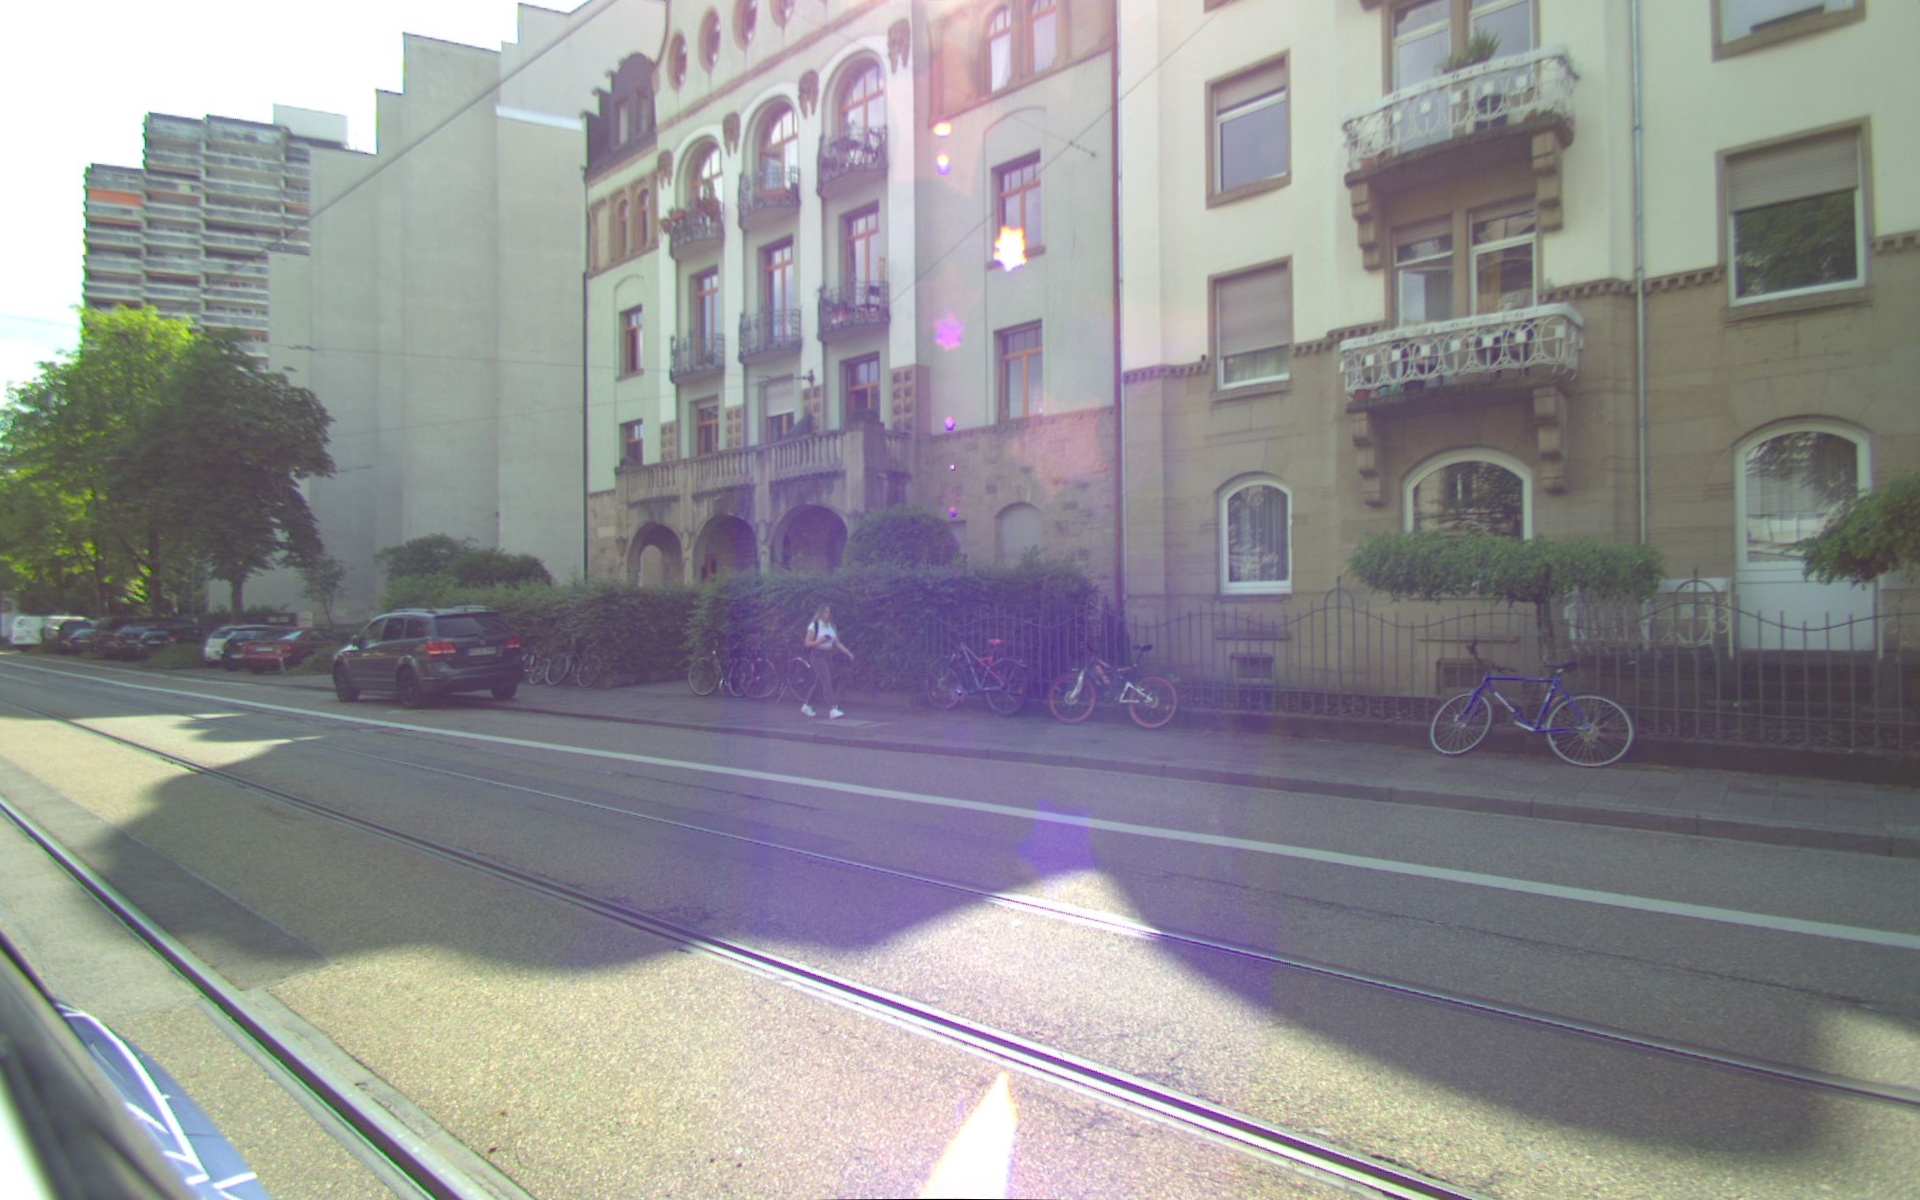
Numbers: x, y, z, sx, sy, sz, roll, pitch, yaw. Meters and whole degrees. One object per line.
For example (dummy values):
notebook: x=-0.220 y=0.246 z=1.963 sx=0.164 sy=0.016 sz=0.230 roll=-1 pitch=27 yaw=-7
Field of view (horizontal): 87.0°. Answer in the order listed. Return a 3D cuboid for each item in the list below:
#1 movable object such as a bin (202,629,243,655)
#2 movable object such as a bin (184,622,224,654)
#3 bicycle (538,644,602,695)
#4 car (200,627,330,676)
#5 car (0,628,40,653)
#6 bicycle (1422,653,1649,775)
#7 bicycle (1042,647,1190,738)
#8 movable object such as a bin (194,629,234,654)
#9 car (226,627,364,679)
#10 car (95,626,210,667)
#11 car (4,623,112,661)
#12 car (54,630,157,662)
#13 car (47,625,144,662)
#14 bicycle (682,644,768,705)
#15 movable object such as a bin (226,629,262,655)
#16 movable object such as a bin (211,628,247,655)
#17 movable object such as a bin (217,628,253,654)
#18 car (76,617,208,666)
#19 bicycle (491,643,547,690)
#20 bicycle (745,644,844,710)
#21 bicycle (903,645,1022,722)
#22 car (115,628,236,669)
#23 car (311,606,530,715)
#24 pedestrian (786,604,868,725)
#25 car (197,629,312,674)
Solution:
movable object such as a bin: x=-40.877 y=2.337 z=56.110 sx=1.536 sy=1.374 sz=1.374 roll=-1 pitch=-4 yaw=36
movable object such as a bin: x=-43.530 y=2.184 z=58.250 sx=1.536 sy=1.795 sz=1.374 roll=-1 pitch=-4 yaw=36
bicycle: x=-7.892 y=1.378 z=20.441 sx=1.920 sy=0.966 sz=0.379 roll=-2 pitch=0 yaw=42
car: x=-23.092 y=1.716 z=33.808 sx=1.674 sy=1.495 sz=3.806 roll=1 pitch=-3 yaw=1
car: x=-61.611 y=2.612 z=65.022 sx=1.715 sy=1.535 sz=3.890 roll=-1 pitch=-1 yaw=-6
bicycle: x=5.138 y=0.981 z=9.111 sx=1.705 sy=0.966 sz=0.422 roll=-2 pitch=0 yaw=42
bicycle: x=1.810 y=1.061 z=11.985 sx=1.800 sy=0.983 sz=0.379 roll=-2 pitch=0 yaw=42
movable object such as a bin: x=-42.155 y=2.337 z=57.165 sx=1.536 sy=1.374 sz=1.374 roll=-1 pitch=-4 yaw=36
car: x=-20.675 y=1.659 z=31.685 sx=1.819 sy=1.495 sz=3.972 roll=1 pitch=-3 yaw=-3
car: x=-33.265 y=1.933 z=41.846 sx=1.715 sy=1.605 sz=4.003 roll=1 pitch=-3 yaw=-4
car: x=-50.291 y=2.291 z=56.584 sx=1.940 sy=2.012 sz=4.687 roll=0 pitch=-2 yaw=-2
car: x=-40.481 y=2.173 z=48.072 sx=1.733 sy=1.428 sz=4.005 roll=1 pitch=-3 yaw=-6
car: x=-43.009 y=2.185 z=50.470 sx=1.734 sy=1.706 sz=3.718 roll=1 pitch=-3 yaw=-3
bicycle: x=-4.001 y=1.238 z=17.120 sx=1.920 sy=0.966 sz=0.379 roll=-2 pitch=0 yaw=42
movable object such as a bin: x=-37.269 y=2.195 z=52.676 sx=1.440 sy=1.293 sz=1.156 roll=-1 pitch=-4 yaw=39
movable object such as a bin: x=-39.724 y=2.272 z=54.995 sx=1.439 sy=1.391 sz=1.181 roll=-1 pitch=-4 yaw=37
movable object such as a bin: x=-38.396 y=2.181 z=53.621 sx=1.440 sy=1.337 sz=1.152 roll=-1 pitch=-4 yaw=39
car: x=-35.587 y=1.831 z=44.236 sx=1.887 sy=1.969 sz=5.174 roll=1 pitch=-3 yaw=-6
bicycle: x=-9.568 y=1.419 z=21.925 sx=1.809 sy=0.966 sz=0.379 roll=-2 pitch=0 yaw=42
bicycle: x=-2.606 y=1.180 z=15.834 sx=1.799 sy=0.966 sz=0.446 roll=-2 pitch=0 yaw=40
bicycle: x=0.009 y=1.100 z=13.700 sx=1.800 sy=0.966 sz=0.379 roll=-2 pitch=0 yaw=42
car: x=-30.845 y=1.923 z=39.959 sx=1.715 sy=1.495 sz=4.001 roll=1 pitch=-3 yaw=-2
car: x=-10.059 y=1.057 z=18.717 sx=4.876 sy=1.776 sz=1.768 roll=-2 pitch=-2 yaw=38
pedestrian: x=-1.832 y=0.858 z=13.943 sx=0.882 sy=1.580 sz=0.672 roll=-1 pitch=0 yaw=43
car: x=-25.193 y=1.835 z=36.278 sx=1.672 sy=1.495 sz=3.811 roll=1 pitch=-3 yaw=-5
